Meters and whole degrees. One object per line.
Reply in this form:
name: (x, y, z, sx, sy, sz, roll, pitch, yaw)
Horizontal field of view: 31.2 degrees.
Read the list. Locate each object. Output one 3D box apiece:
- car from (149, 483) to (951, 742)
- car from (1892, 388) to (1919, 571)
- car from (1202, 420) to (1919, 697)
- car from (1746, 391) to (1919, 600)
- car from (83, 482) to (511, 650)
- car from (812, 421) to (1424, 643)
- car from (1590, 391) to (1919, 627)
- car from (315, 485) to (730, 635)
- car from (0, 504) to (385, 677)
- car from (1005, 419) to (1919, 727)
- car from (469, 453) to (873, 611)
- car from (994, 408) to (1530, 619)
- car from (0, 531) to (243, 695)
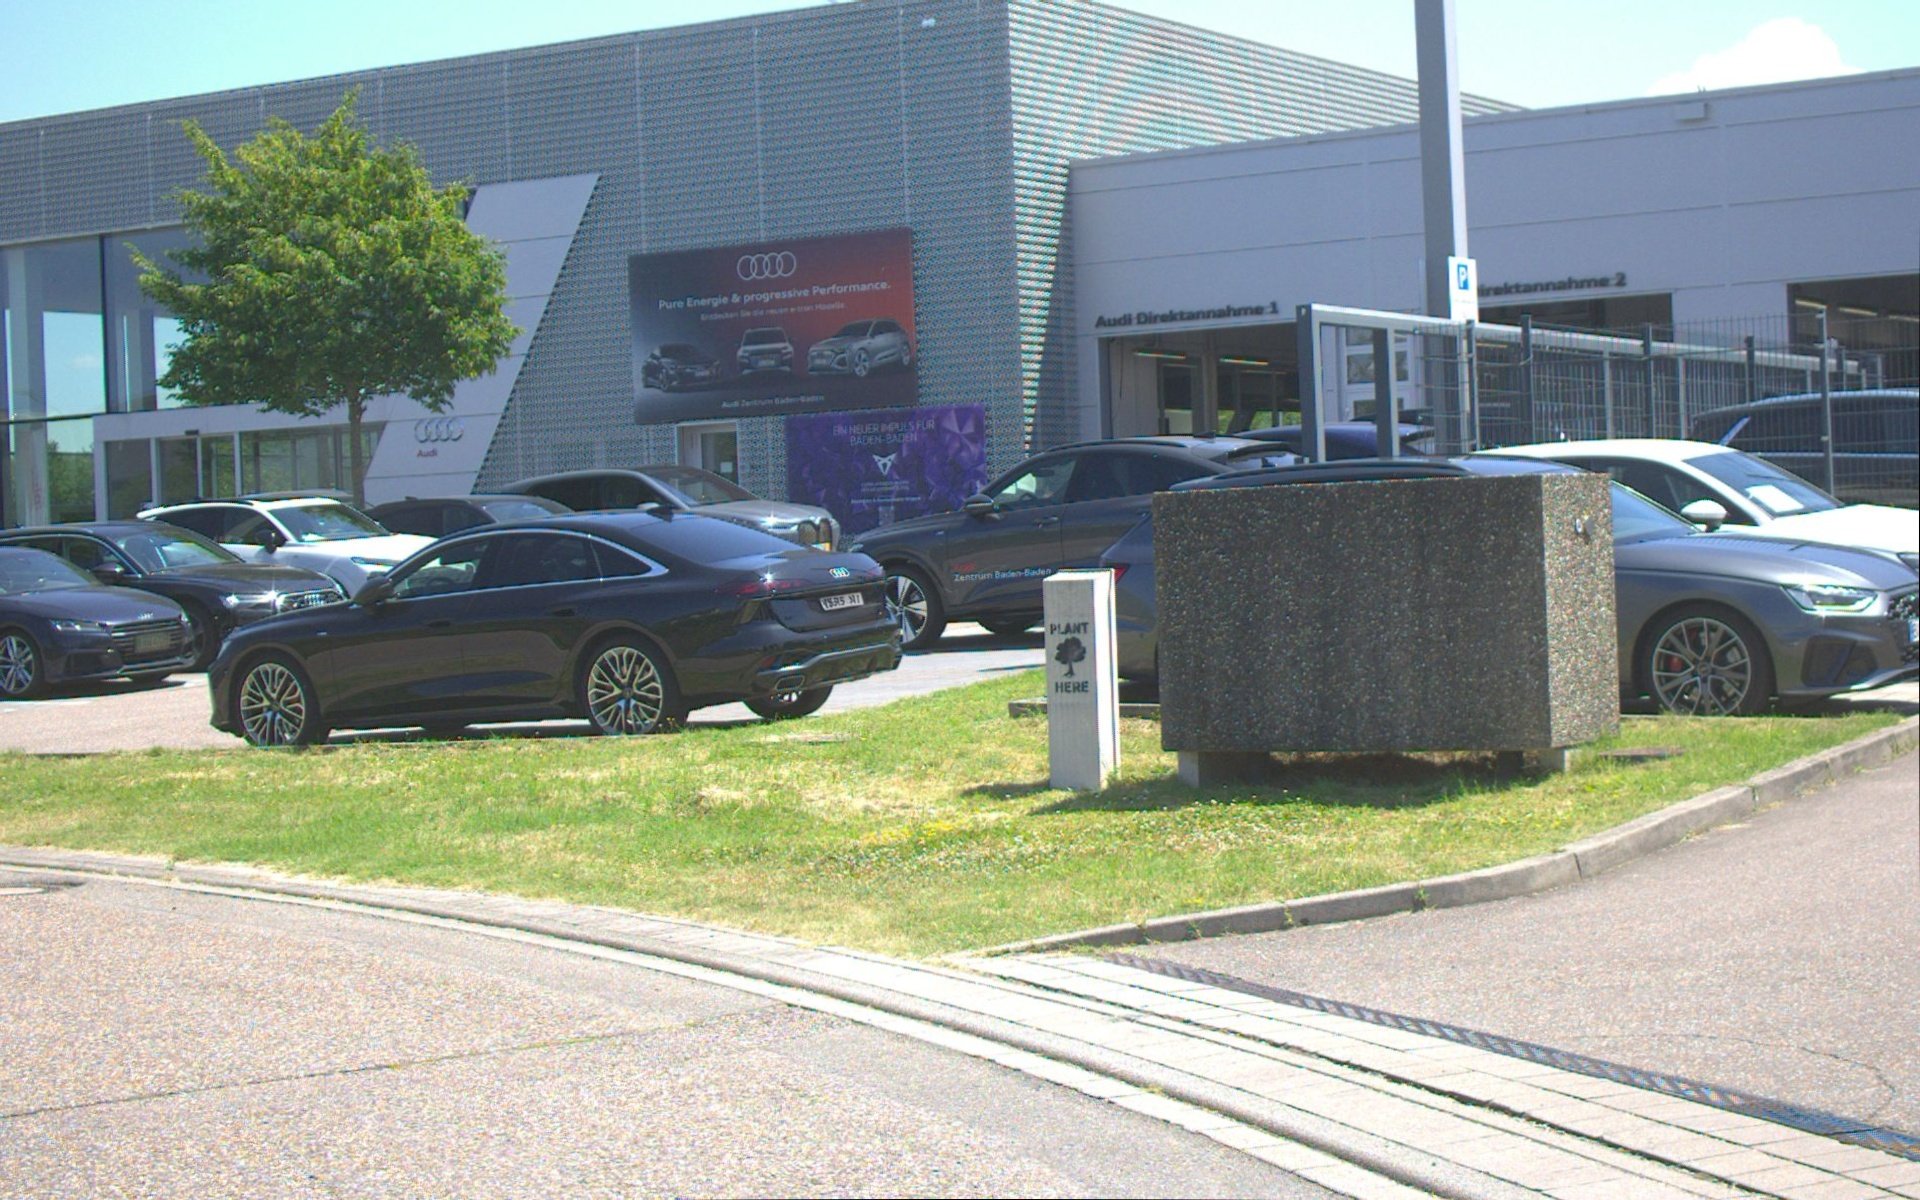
car: (-2.722, 0.098, 22.398, 5.016, 1.449, 1.882, -1, 3, 31)
car: (10.740, -1.181, 30.448, 4.371, 1.624, 1.965, -2, 3, 31)
car: (4.160, -0.262, 21.390, 4.937, 1.523, 1.823, -2, 3, 31)
car: (8.921, -0.927, 27.671, 4.619, 1.624, 1.965, -2, 3, 31)
car: (-7.241, -0.363, 37.490, 4.282, 1.607, 1.965, -2, 3, 31)
car: (1.286, -0.547, 28.795, 4.778, 1.637, 1.827, -2, 1, 31)
car: (7.215, -0.729, 25.308, 4.619, 1.624, 1.965, -2, 3, 31)
car: (-5.015, -0.449, 39.291, 4.365, 1.471, 1.965, -2, 3, 31)
car: (-8.502, -0.076, 35.242, 4.997, 1.547, 1.965, -2, 3, 31)
car: (2.905, -0.136, 18.953, 4.937, 1.462, 1.965, -2, 3, 31)
car: (-3.646, -0.839, 43.151, 4.721, 1.733, 1.965, -2, 3, 31)
car: (2.702, -0.761, 31.020, 4.410, 1.688, 1.827, -2, 1, 31)
car: (-9.130, 0.148, 32.587, 4.305, 1.370, 1.965, -2, 3, 31)
